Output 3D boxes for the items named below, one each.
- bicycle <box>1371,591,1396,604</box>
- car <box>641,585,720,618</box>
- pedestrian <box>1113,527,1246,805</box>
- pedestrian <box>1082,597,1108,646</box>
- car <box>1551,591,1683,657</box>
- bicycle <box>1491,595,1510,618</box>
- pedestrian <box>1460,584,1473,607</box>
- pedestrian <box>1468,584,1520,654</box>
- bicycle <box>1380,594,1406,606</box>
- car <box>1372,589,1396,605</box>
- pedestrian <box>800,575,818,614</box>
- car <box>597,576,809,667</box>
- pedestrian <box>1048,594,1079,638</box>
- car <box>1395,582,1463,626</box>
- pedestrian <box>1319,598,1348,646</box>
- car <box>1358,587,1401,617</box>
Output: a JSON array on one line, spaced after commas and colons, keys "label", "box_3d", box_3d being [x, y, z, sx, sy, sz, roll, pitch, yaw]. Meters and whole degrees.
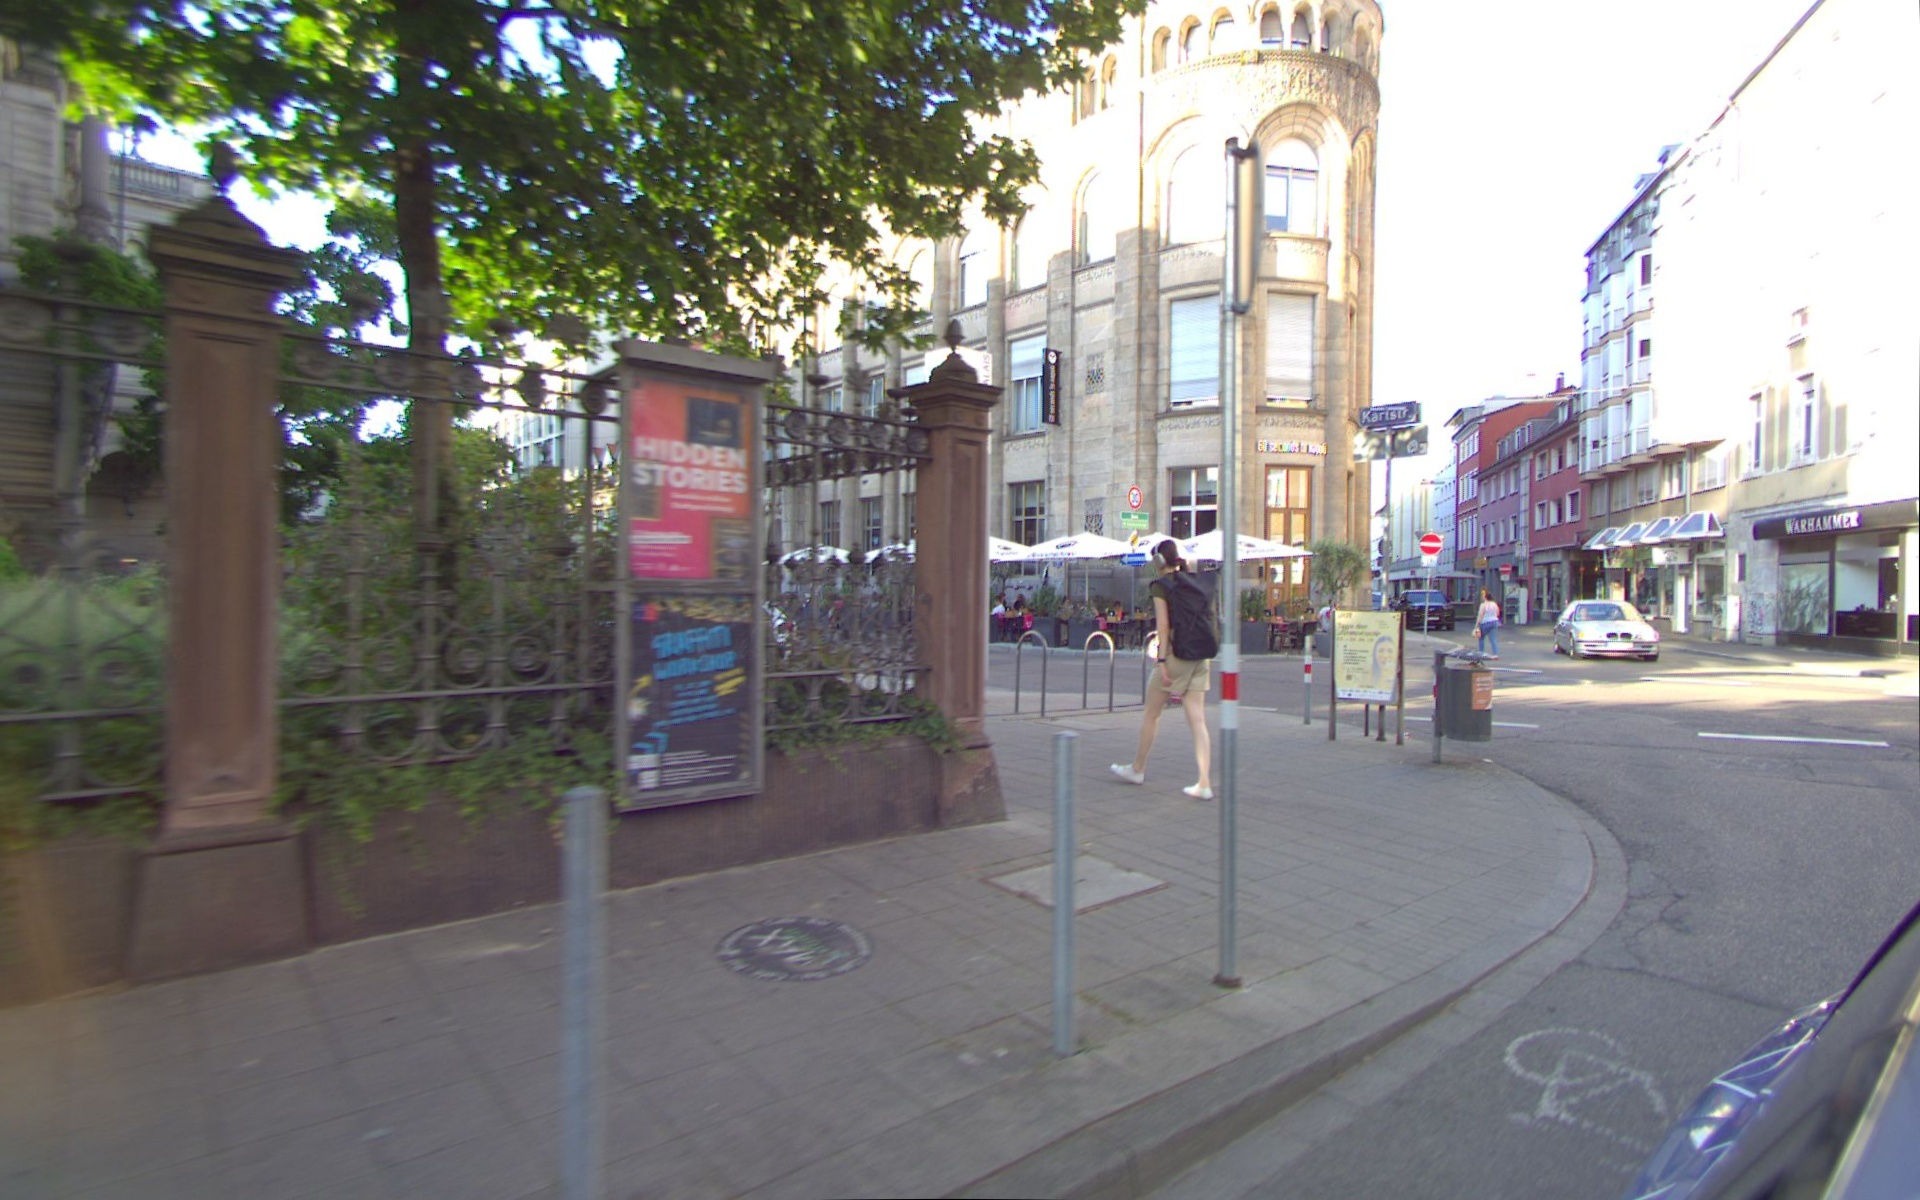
[{"label": "bicycle", "box_3d": [45.147, -0.282, 108.013, 2.456, 1.347, 0.778, 0, 1, 24]}, {"label": "car", "box_3d": [-12.970, 0.044, 47.237, 1.730, 1.430, 4.011, 0, 1, 16]}, {"label": "pedestrian", "box_3d": [1.448, 0.408, 6.798, 0.624, 1.745, 0.846, 0, 0, -7]}, {"label": "pedestrian", "box_3d": [3.559, 0.559, 26.714, 0.675, 1.261, 0.599, 0, 0, 9]}, {"label": "car", "box_3d": [15.791, 0.505, 24.562, 1.978, 1.440, 4.422, 0, 1, 24]}, {"label": "bicycle", "box_3d": [29.398, 0.337, 55.058, 0.538, 1.207, 1.832, 0, 0, 17]}, {"label": "pedestrian", "box_3d": [32.443, -0.293, 64.822, 0.602, 1.491, 0.546, 0, 0, 10]}, {"label": "pedestrian", "box_3d": [12.646, 0.430, 23.982, 0.788, 1.633, 0.736, 0, 1, -11]}, {"label": "bicycle", "box_3d": [44.082, -0.046, 103.053, 2.456, 1.193, 0.778, 0, 1, 24]}, {"label": "car", "box_3d": [46.581, -0.339, 111.282, 1.973, 1.697, 4.434, 0, 0, 17]}, {"label": "pedestrian", "box_3d": [-6.902, -0.249, 46.263, 0.595, 1.752, 0.619, 1, 1, 43]}, {"label": "car", "box_3d": [-5.071, 0.408, 20.225, 3.829, 1.465, 1.759, 5, 0, -13]}, {"label": "pedestrian", "box_3d": [3.010, 0.464, 29.371, 0.590, 1.261, 0.685, 0, 0, -38]}, {"label": "car", "box_3d": [20.659, 0.132, 44.801, 1.972, 1.805, 4.909, 0, 0, 16]}, {"label": "pedestrian", "box_3d": [9.638, 0.559, 26.123, 0.602, 1.204, 0.813, 0, 0, 28]}, {"label": "car", "box_3d": [24.616, 0.096, 59.498, 1.753, 1.687, 3.982, 1, 1, 14]}]
